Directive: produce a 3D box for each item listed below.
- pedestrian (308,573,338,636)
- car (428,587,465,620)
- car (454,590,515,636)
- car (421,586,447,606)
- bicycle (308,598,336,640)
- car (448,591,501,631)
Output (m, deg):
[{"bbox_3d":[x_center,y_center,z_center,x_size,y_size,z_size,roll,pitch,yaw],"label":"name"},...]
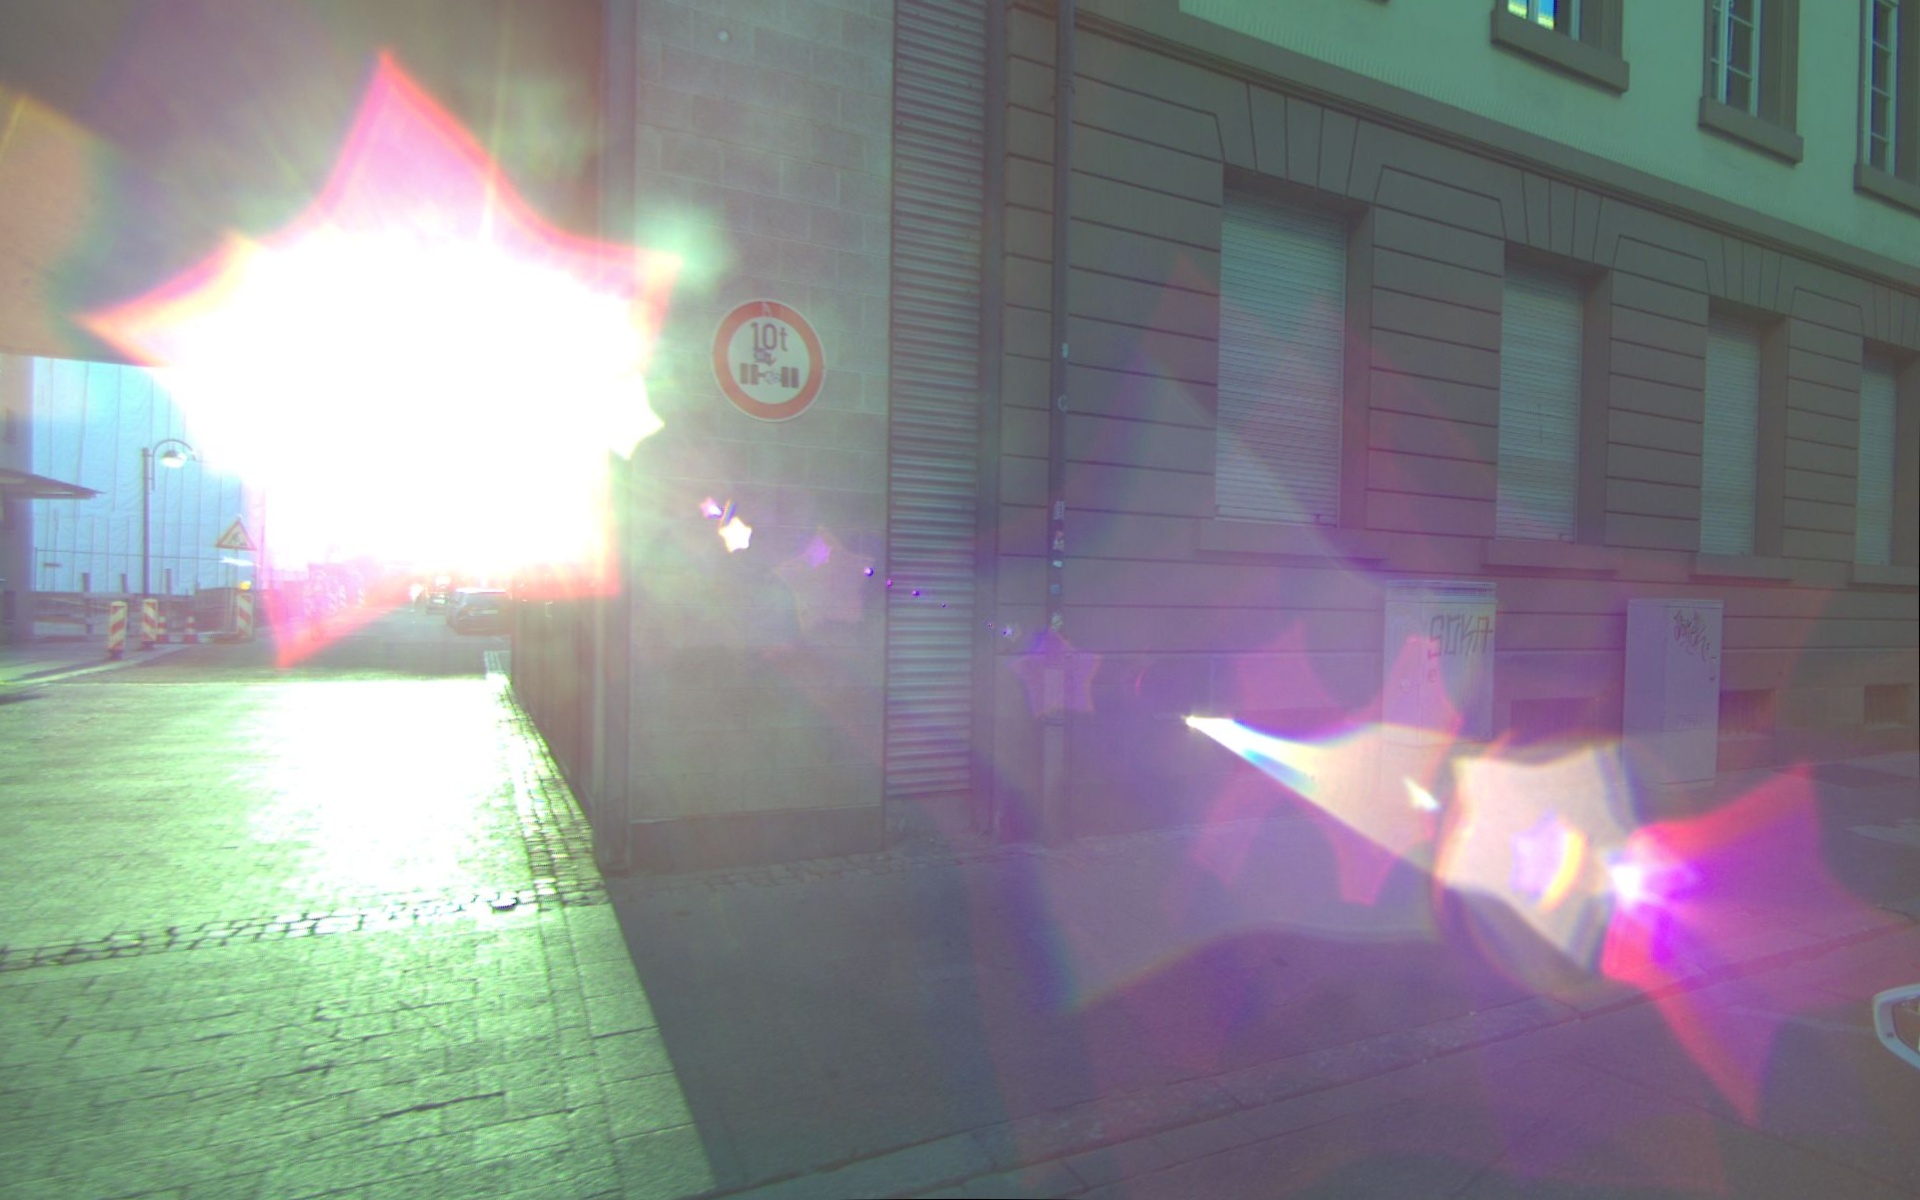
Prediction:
[{"bbox_3d":[-17.277,0.120,27.244,0.647,1.656,0.797,1,0,-32],"label":"pedestrian"},{"bbox_3d":[-27.948,0.179,54.635,1.695,1.724,3.885,0,1,-28],"label":"car"},{"bbox_3d":[-15.874,0.381,33.444,1.695,1.434,3.885,0,1,-28],"label":"car"},{"bbox_3d":[-39.869,-0.296,76.164,1.695,1.434,3.885,0,1,-28],"label":"car"},{"bbox_3d":[-17.306,0.490,27.257,0.597,1.076,2.005,1,0,-32],"label":"bicycle"},{"bbox_3d":[-18.742,0.381,38.696,1.695,1.434,3.885,0,1,-28],"label":"car"}]
